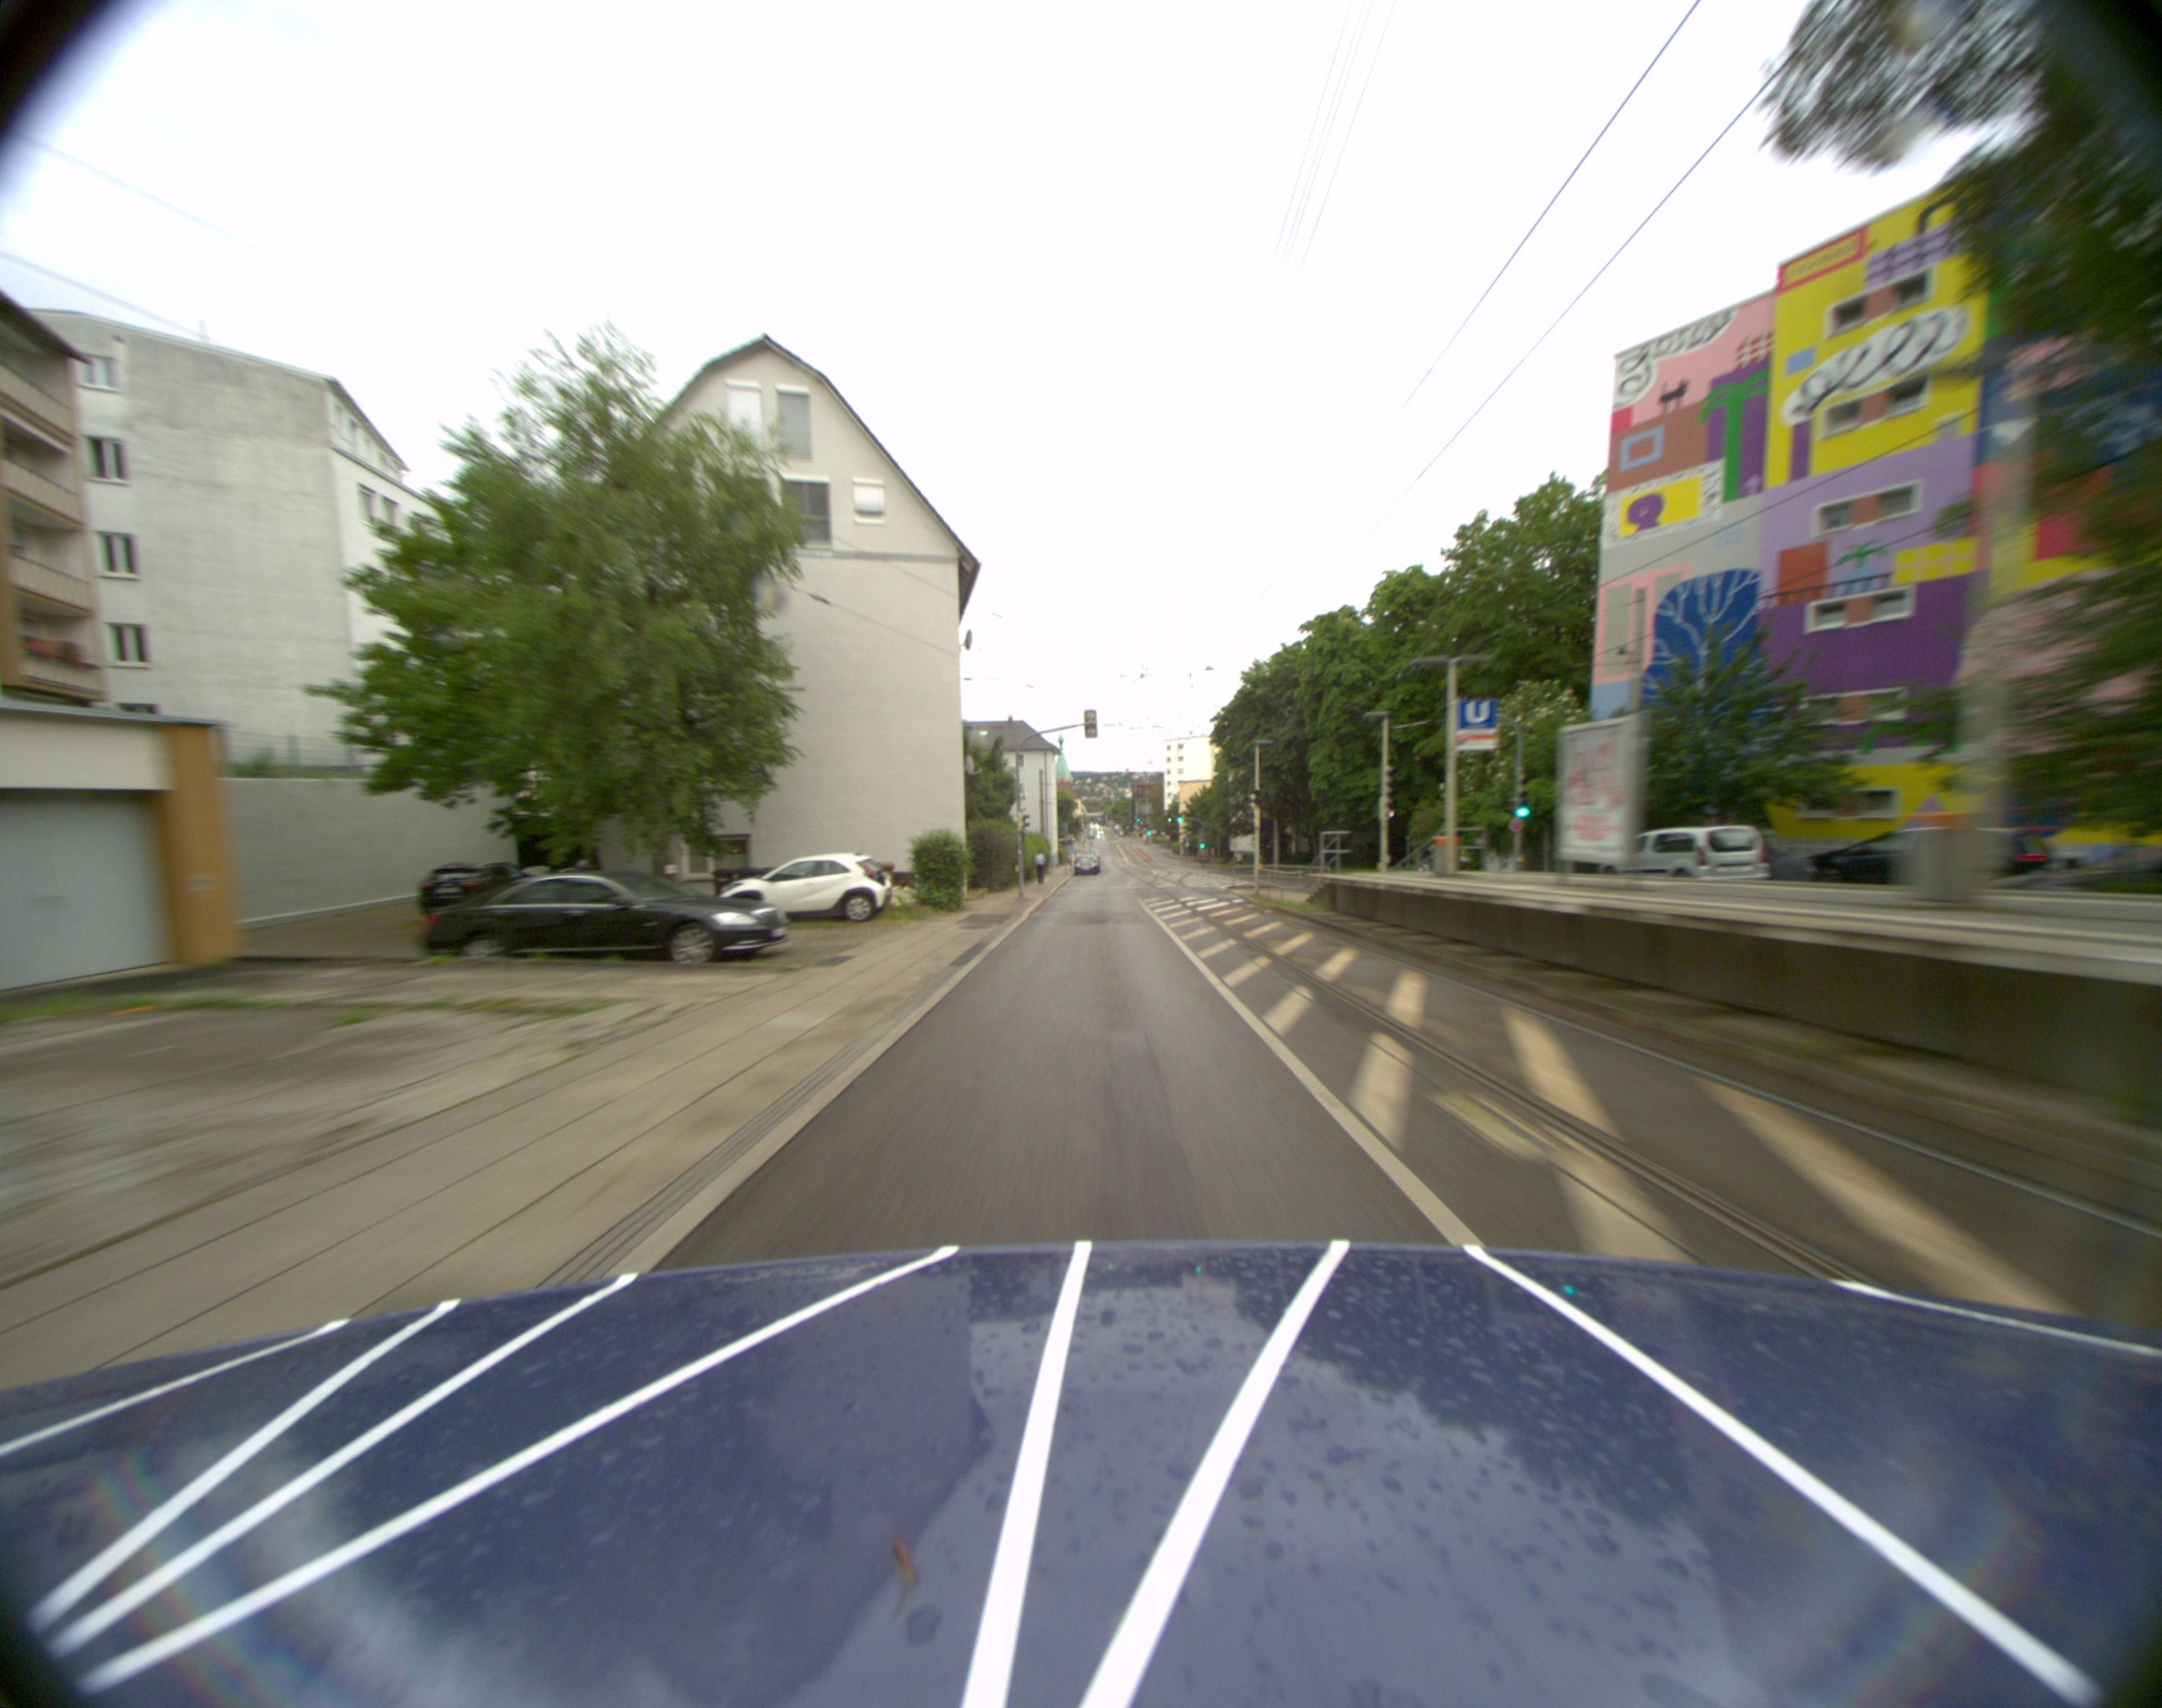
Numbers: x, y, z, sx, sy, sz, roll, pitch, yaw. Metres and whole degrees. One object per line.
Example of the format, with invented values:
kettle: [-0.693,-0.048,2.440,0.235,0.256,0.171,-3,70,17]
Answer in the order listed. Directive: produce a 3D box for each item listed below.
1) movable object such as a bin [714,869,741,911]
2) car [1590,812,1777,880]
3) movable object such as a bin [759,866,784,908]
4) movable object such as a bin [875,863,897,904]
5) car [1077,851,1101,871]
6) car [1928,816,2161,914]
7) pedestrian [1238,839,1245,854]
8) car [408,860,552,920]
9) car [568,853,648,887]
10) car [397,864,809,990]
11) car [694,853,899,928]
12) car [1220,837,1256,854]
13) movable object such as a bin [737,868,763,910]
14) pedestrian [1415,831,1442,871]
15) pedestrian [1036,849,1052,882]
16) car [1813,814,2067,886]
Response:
movable object such as a bin: [-9.723,0.984,20.929,0.517,1.105,0.642,-2,1,-12]
car: [16.837,-0.231,21.569,1.751,1.707,4.440,-1,1,-1]
movable object such as a bin: [-8.619,0.915,21.200,0.517,1.105,0.642,-2,1,-12]
movable object such as a bin: [-5.615,0.842,21.888,0.536,1.134,0.701,-3,2,-15]
car: [0.628,0.532,58.072,1.725,1.350,4.000,-2,1,2]
car: [17.669,0.148,12.571,4.483,1.534,1.948,-1,1,21]
pedestrian: [15.570,-0.720,73.569,0.529,1.418,0.528,-3,2,3]
car: [-18.014,0.999,23.033,1.690,1.503,3.996,-3,1,-11]
car: [-20.612,0.654,33.290,1.656,1.329,3.835,-3,1,-11]
car: [-7.008,1.038,11.554,4.943,1.429,1.974,-3,2,1]
car: [-6.416,0.787,17.526,3.998,1.459,1.815,-1,3,-4]
car: [18.230,-1.021,88.001,3.993,1.740,2.001,-3,1,12]
movable object such as a bin: [-9.184,0.958,21.082,0.517,1.105,0.642,-2,1,-12]
pedestrian: [13.968,-0.130,30.551,0.754,1.584,0.617,-3,2,3]
pedestrian: [-1.820,0.554,37.446,0.657,1.611,0.630,0,2,6]
car: [21.763,-0.201,19.460,1.713,1.629,3.943,-2,4,-29]
